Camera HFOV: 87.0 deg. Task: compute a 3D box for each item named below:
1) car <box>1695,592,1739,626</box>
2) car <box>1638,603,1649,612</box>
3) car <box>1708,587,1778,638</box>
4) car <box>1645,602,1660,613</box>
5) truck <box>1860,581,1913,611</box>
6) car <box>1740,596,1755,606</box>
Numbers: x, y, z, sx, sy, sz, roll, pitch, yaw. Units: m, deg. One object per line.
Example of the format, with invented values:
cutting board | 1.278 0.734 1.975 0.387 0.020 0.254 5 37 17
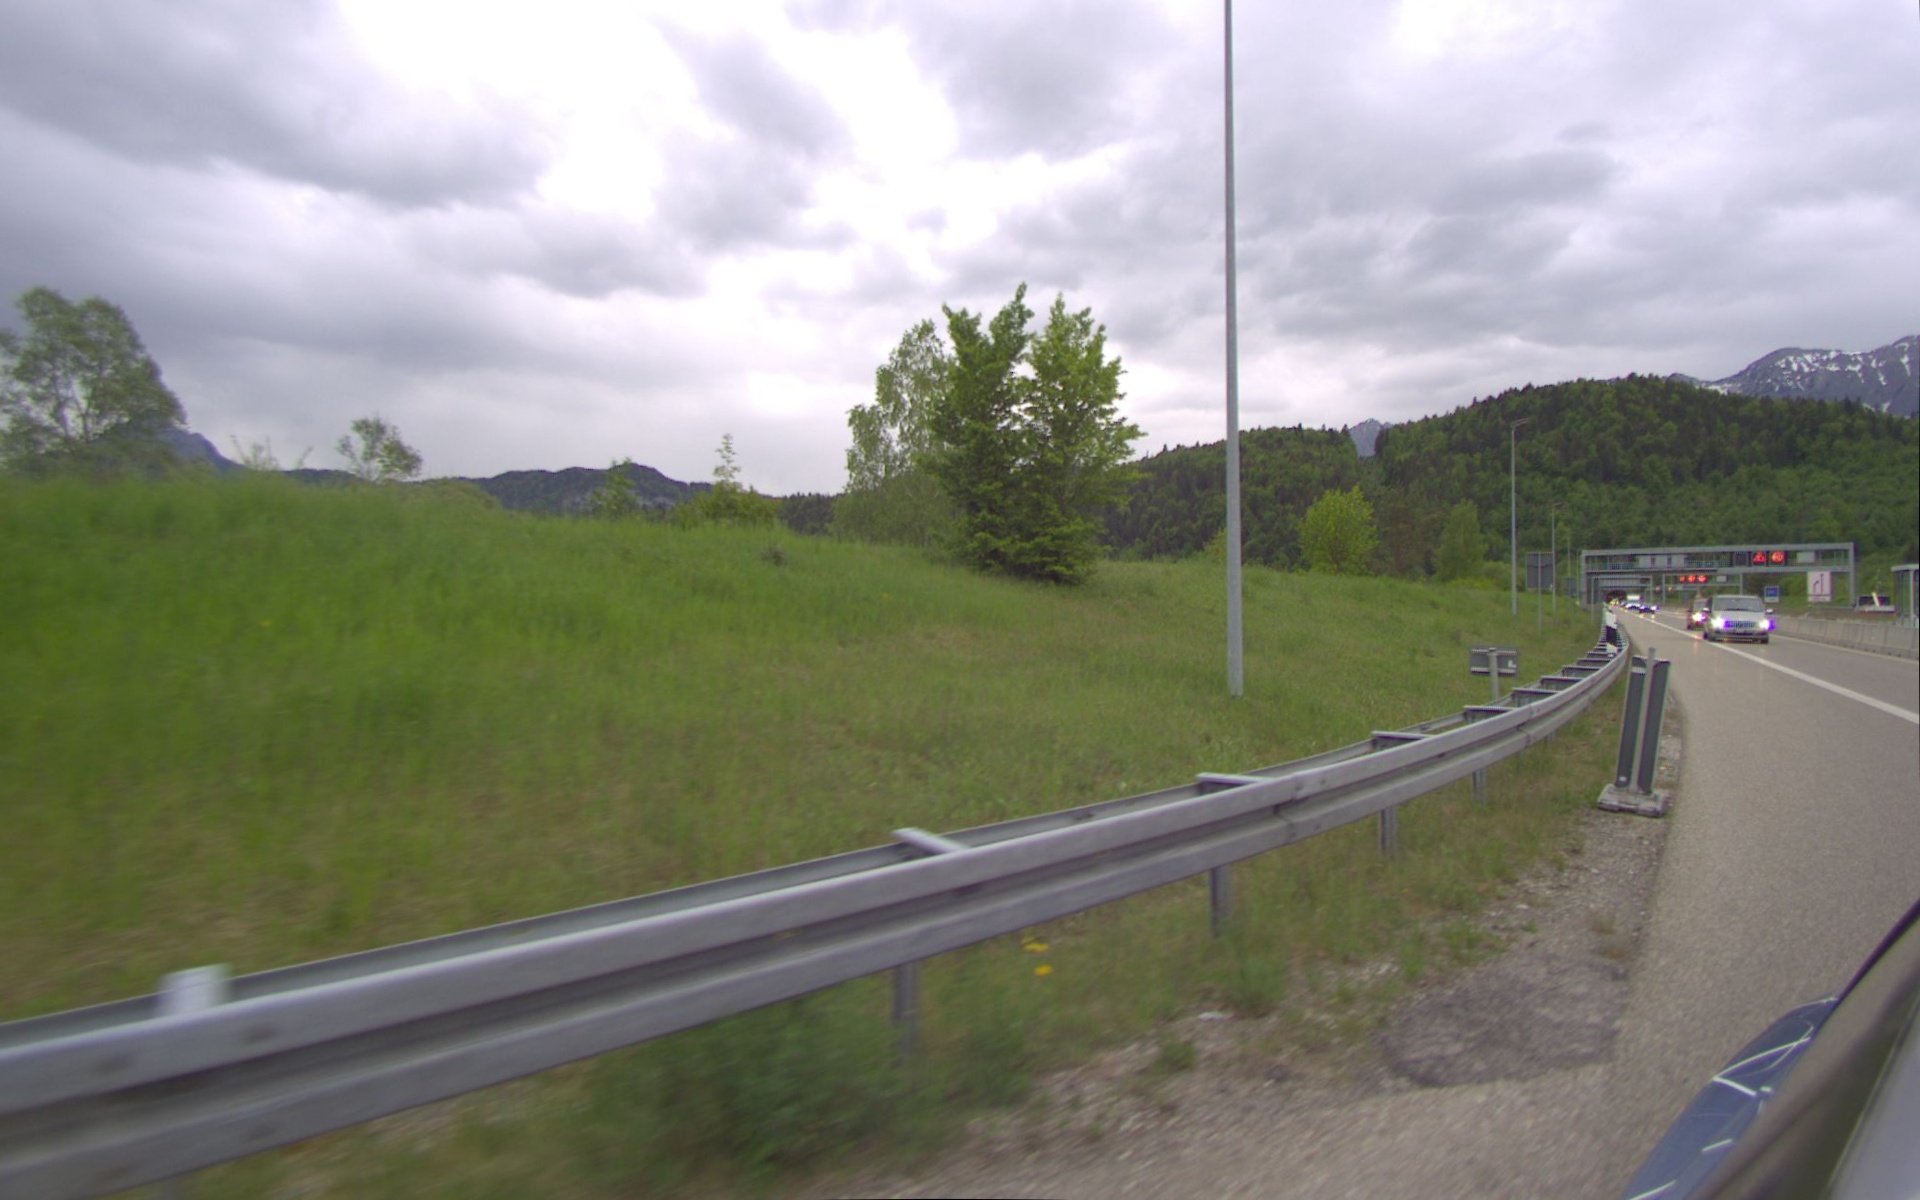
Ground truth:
car | 43.274 0.480 57.904 1.745 1.828 3.952 1 1 33
car | 141.083 1.476 208.815 1.623 1.719 3.449 1 1 37
car | 31.264 0.444 40.522 1.912 1.905 5.074 1 1 35
car | 99.087 1.063 144.742 1.653 1.354 3.747 2 1 33
truck | 79.480 -0.351 86.903 2.347 2.511 5.919 0 0 32
car | 136.658 0.140 175.650 1.695 1.595 4.127 0 0 33
